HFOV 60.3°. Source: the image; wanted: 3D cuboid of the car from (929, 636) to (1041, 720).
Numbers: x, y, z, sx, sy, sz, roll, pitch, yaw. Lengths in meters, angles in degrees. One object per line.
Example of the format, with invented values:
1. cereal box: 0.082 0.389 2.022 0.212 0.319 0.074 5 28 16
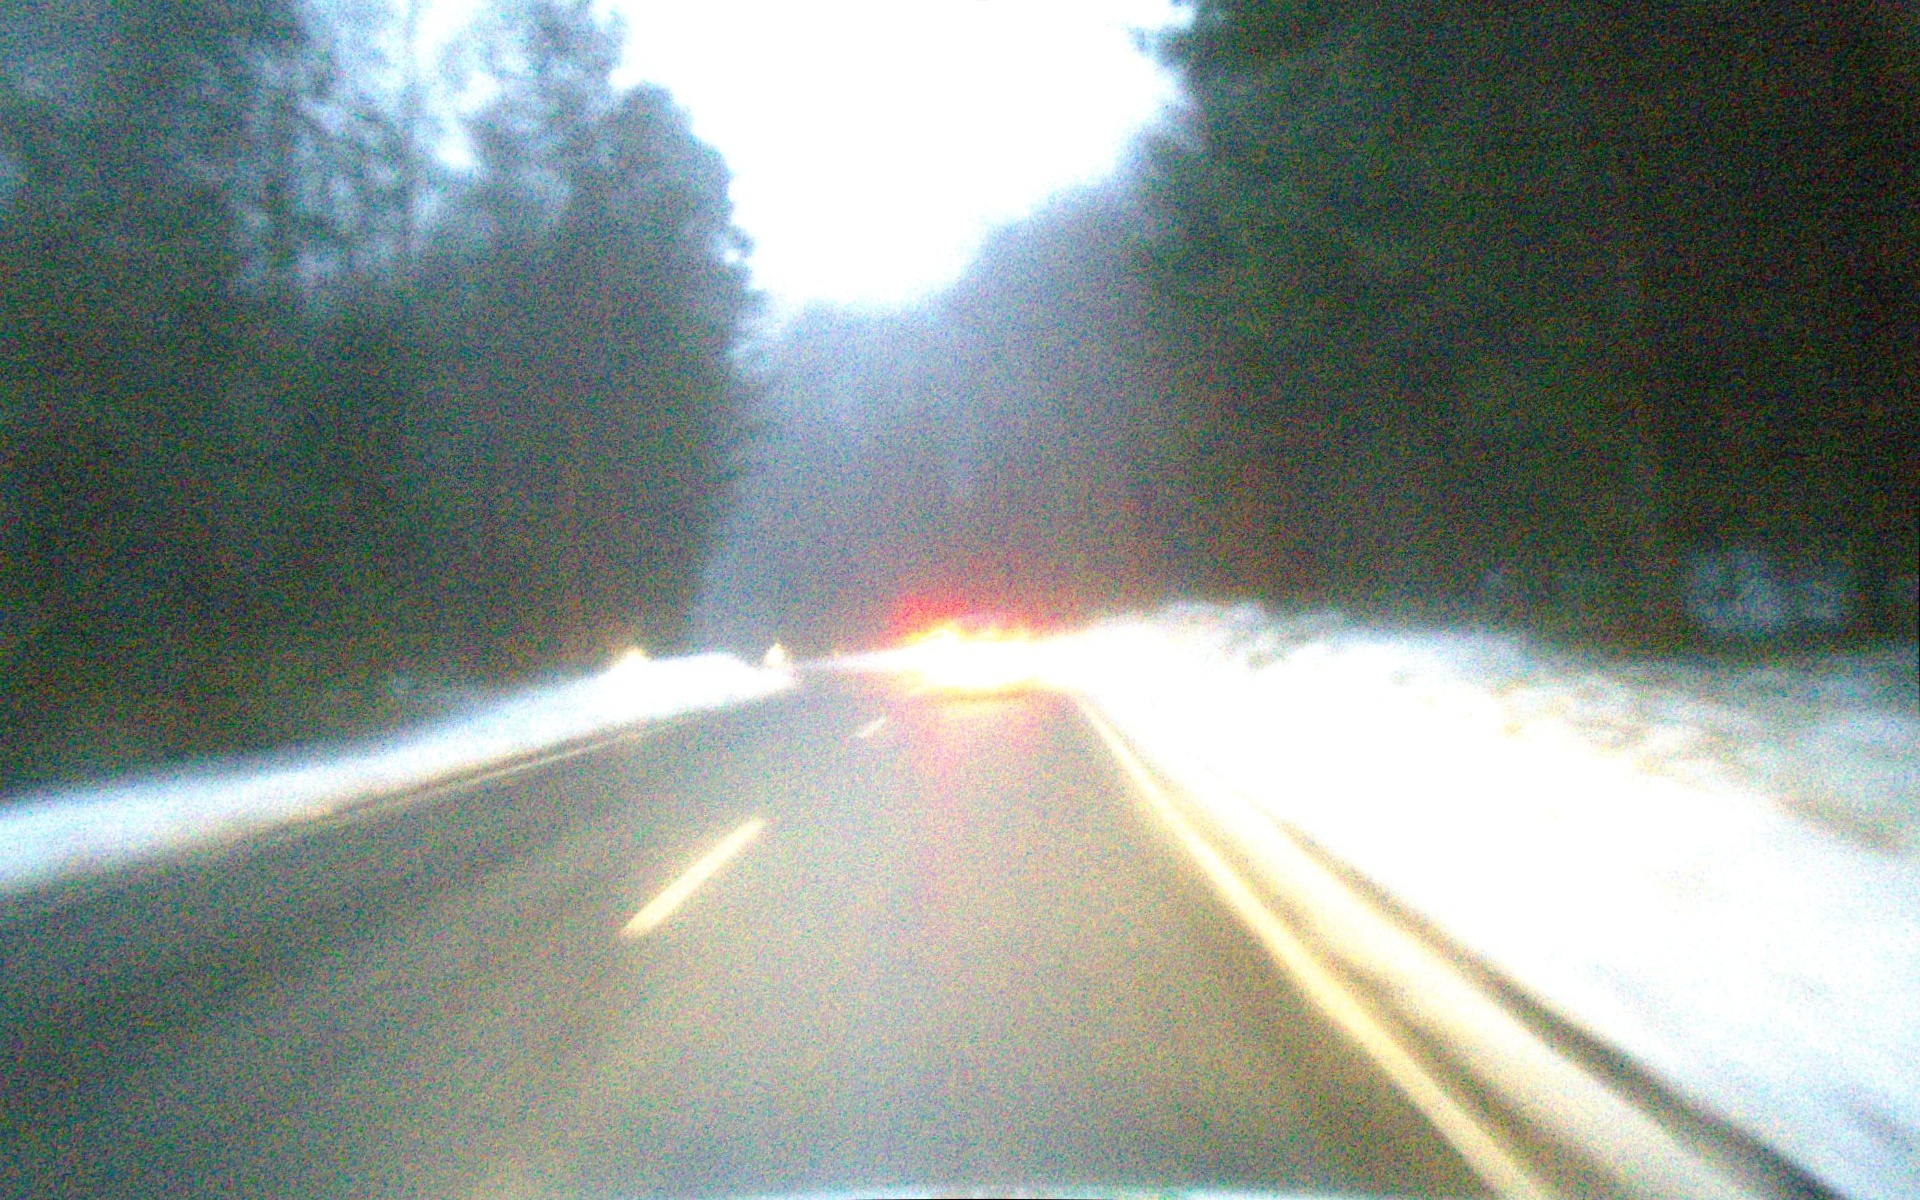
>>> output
1. car: 0.396 1.472 30.282 1.906 1.406 3.998 1 -4 -1

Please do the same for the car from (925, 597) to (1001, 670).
1. car: 0.040 1.033 48.846 1.954 1.814 3.996 2 -5 -3
